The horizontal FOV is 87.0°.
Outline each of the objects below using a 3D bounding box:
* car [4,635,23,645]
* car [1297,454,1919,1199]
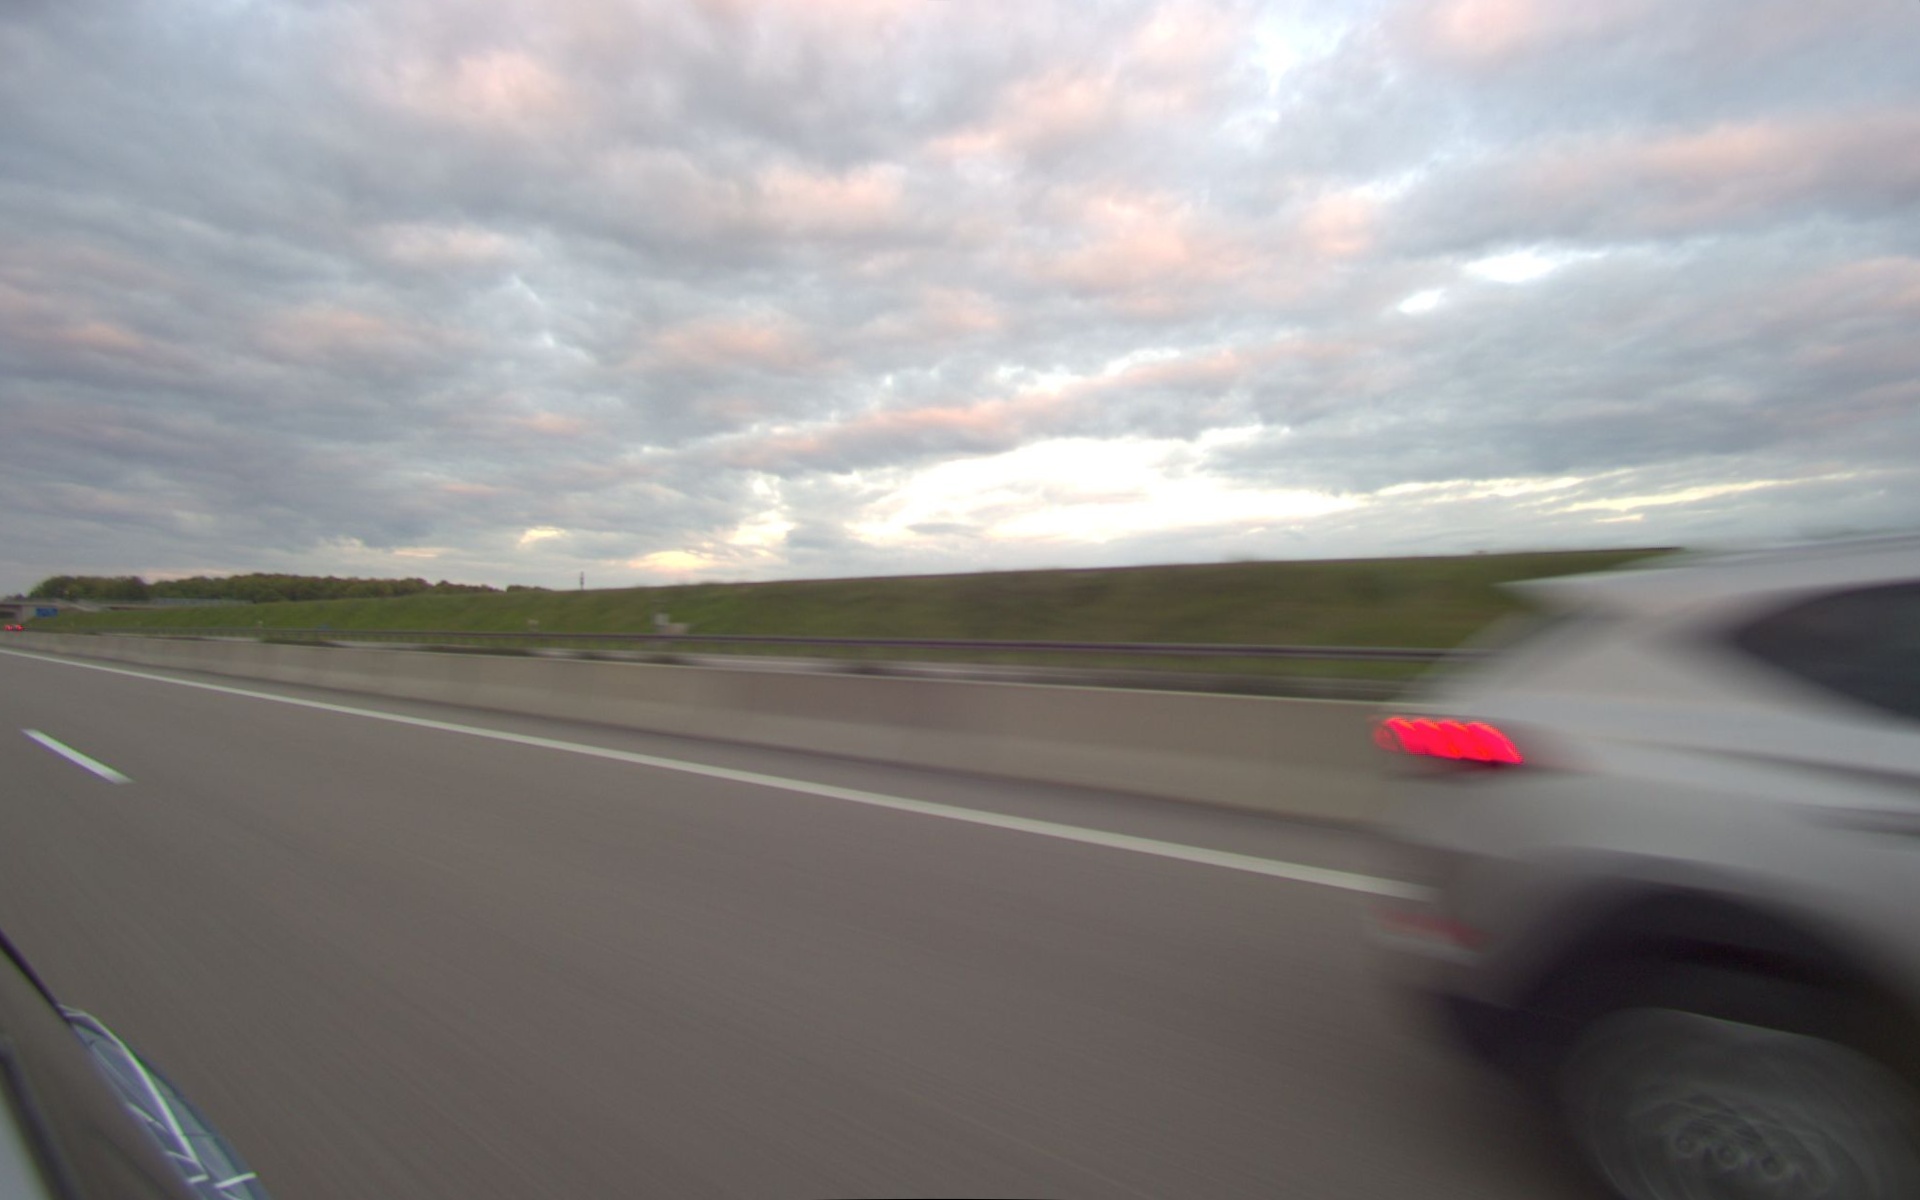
[{"bbox_3d":[-142.794,6.022,152.695,4.340,1.403,1.720,-2,-2,41],"label":"car"},{"bbox_3d":[3.556,0.554,1.526,5.510,1.705,1.833,-1,-1,42],"label":"car"}]
